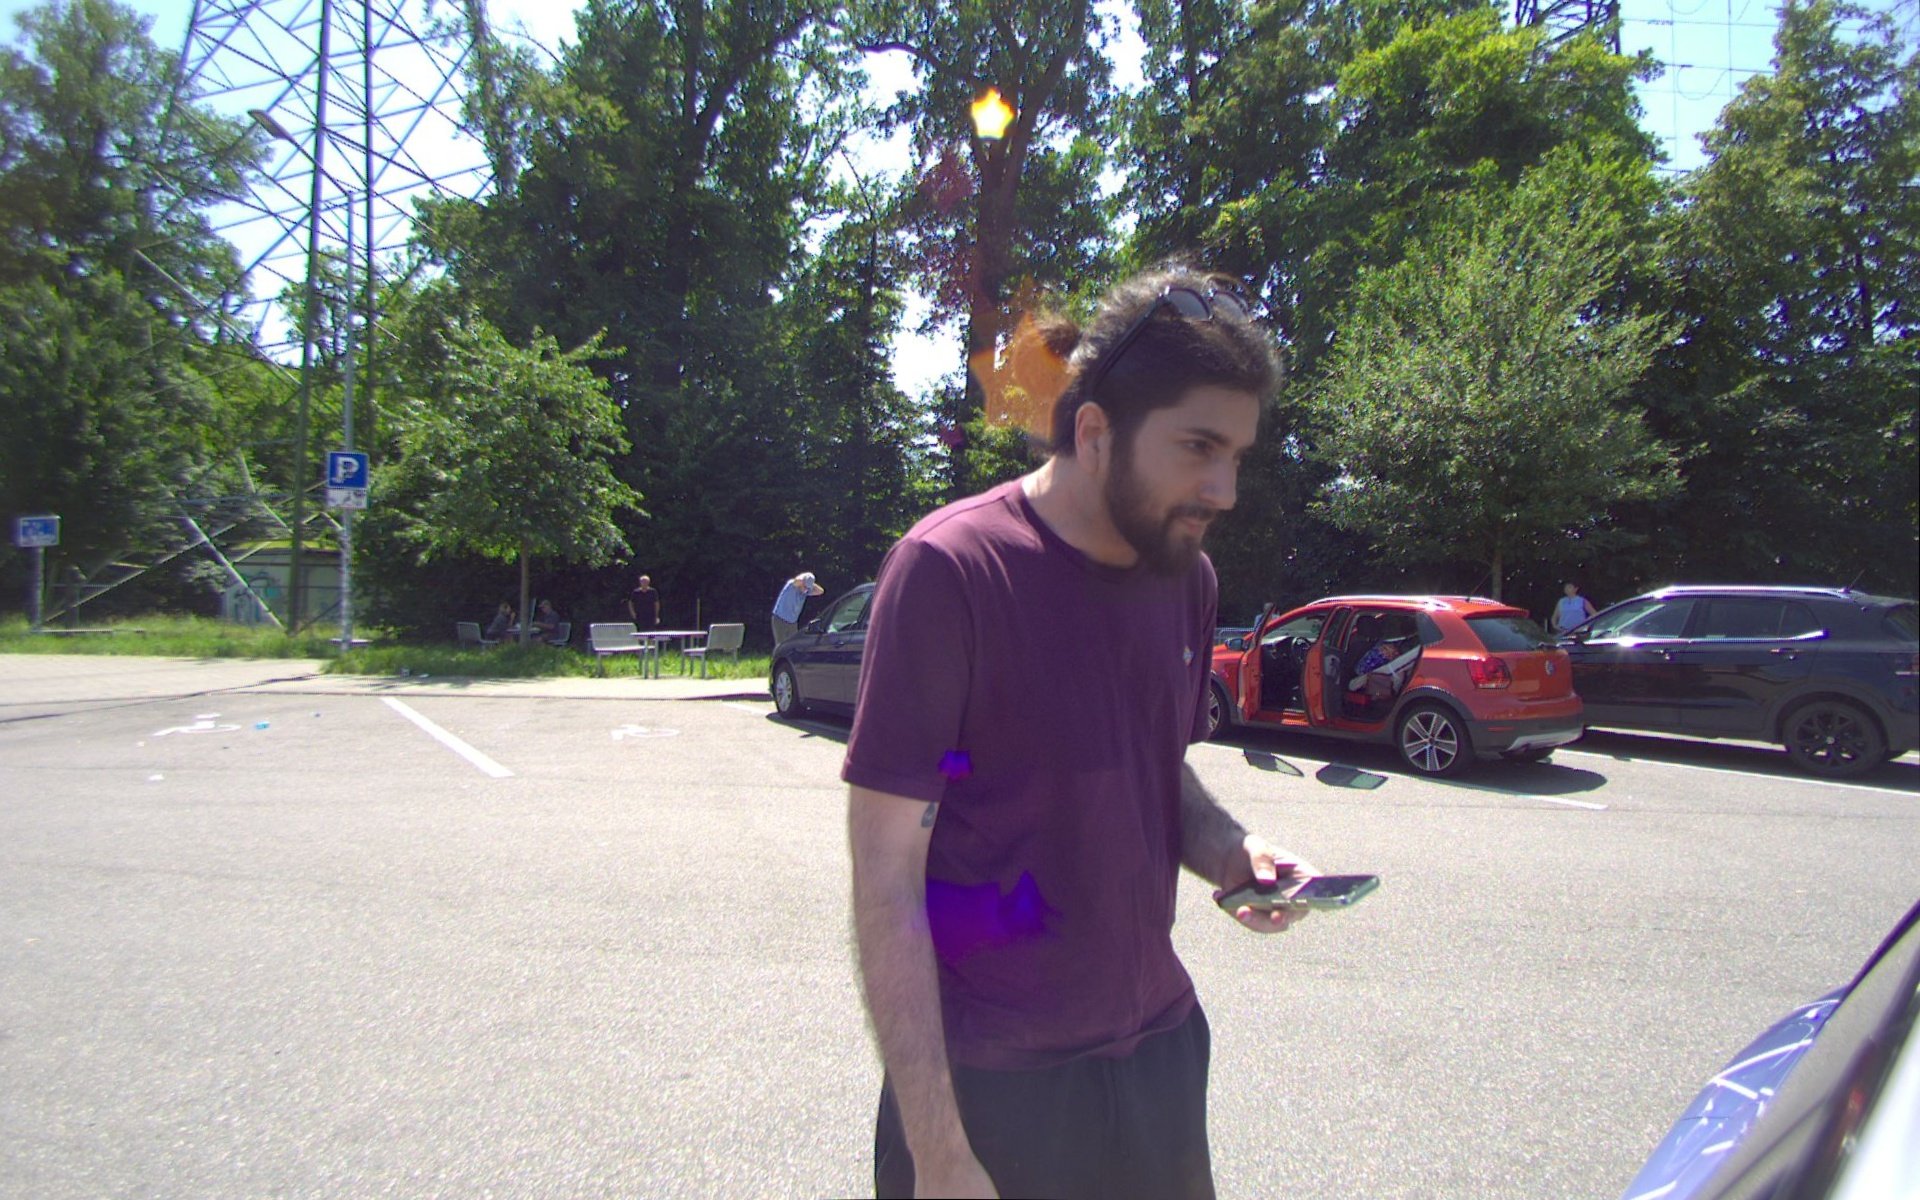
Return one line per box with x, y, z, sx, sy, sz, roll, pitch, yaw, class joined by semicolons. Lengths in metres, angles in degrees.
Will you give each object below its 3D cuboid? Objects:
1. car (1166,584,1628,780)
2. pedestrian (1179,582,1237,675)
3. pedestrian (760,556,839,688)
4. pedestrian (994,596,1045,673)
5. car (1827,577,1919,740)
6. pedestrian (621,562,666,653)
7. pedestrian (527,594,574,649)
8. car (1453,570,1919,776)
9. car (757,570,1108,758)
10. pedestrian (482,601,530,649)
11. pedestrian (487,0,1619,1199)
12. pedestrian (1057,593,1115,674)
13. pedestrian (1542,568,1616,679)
3.924;0.612;9.652;1.746;1.475;3.710;1;0;-33;car
4.443;0.504;18.173;0.794;1.614;0.776;1;-1;-3;pedestrian
-2.257;0.293;14.229;0.786;1.784;0.809;1;-1;-39;pedestrian
1.010;0.580;17.279;0.656;1.285;0.655;1;-1;-17;pedestrian
10.899;0.592;9.430;1.745;1.612;3.972;1;0;-32;car
-6.579;0.153;21.048;0.701;1.851;0.905;1;-1;-6;pedestrian
-9.553;0.499;23.619;0.796;1.253;0.713;1;-1;-44;pedestrian
7.205;0.567;9.839;1.807;1.612;3.967;1;0;-38;car
-0.487;0.534;10.700;1.809;1.588;4.017;1;0;-35;car
-10.283;0.559;22.923;0.796;1.062;0.714;1;-1;-43;pedestrian
0.121;0.416;1.098;0.828;1.797;0.926;0;-1;45;pedestrian
2.096;0.552;16.899;0.656;1.311;0.832;1;-1;-17;pedestrian
9.358;0.343;15.305;0.795;1.614;0.715;1;-1;-38;pedestrian
